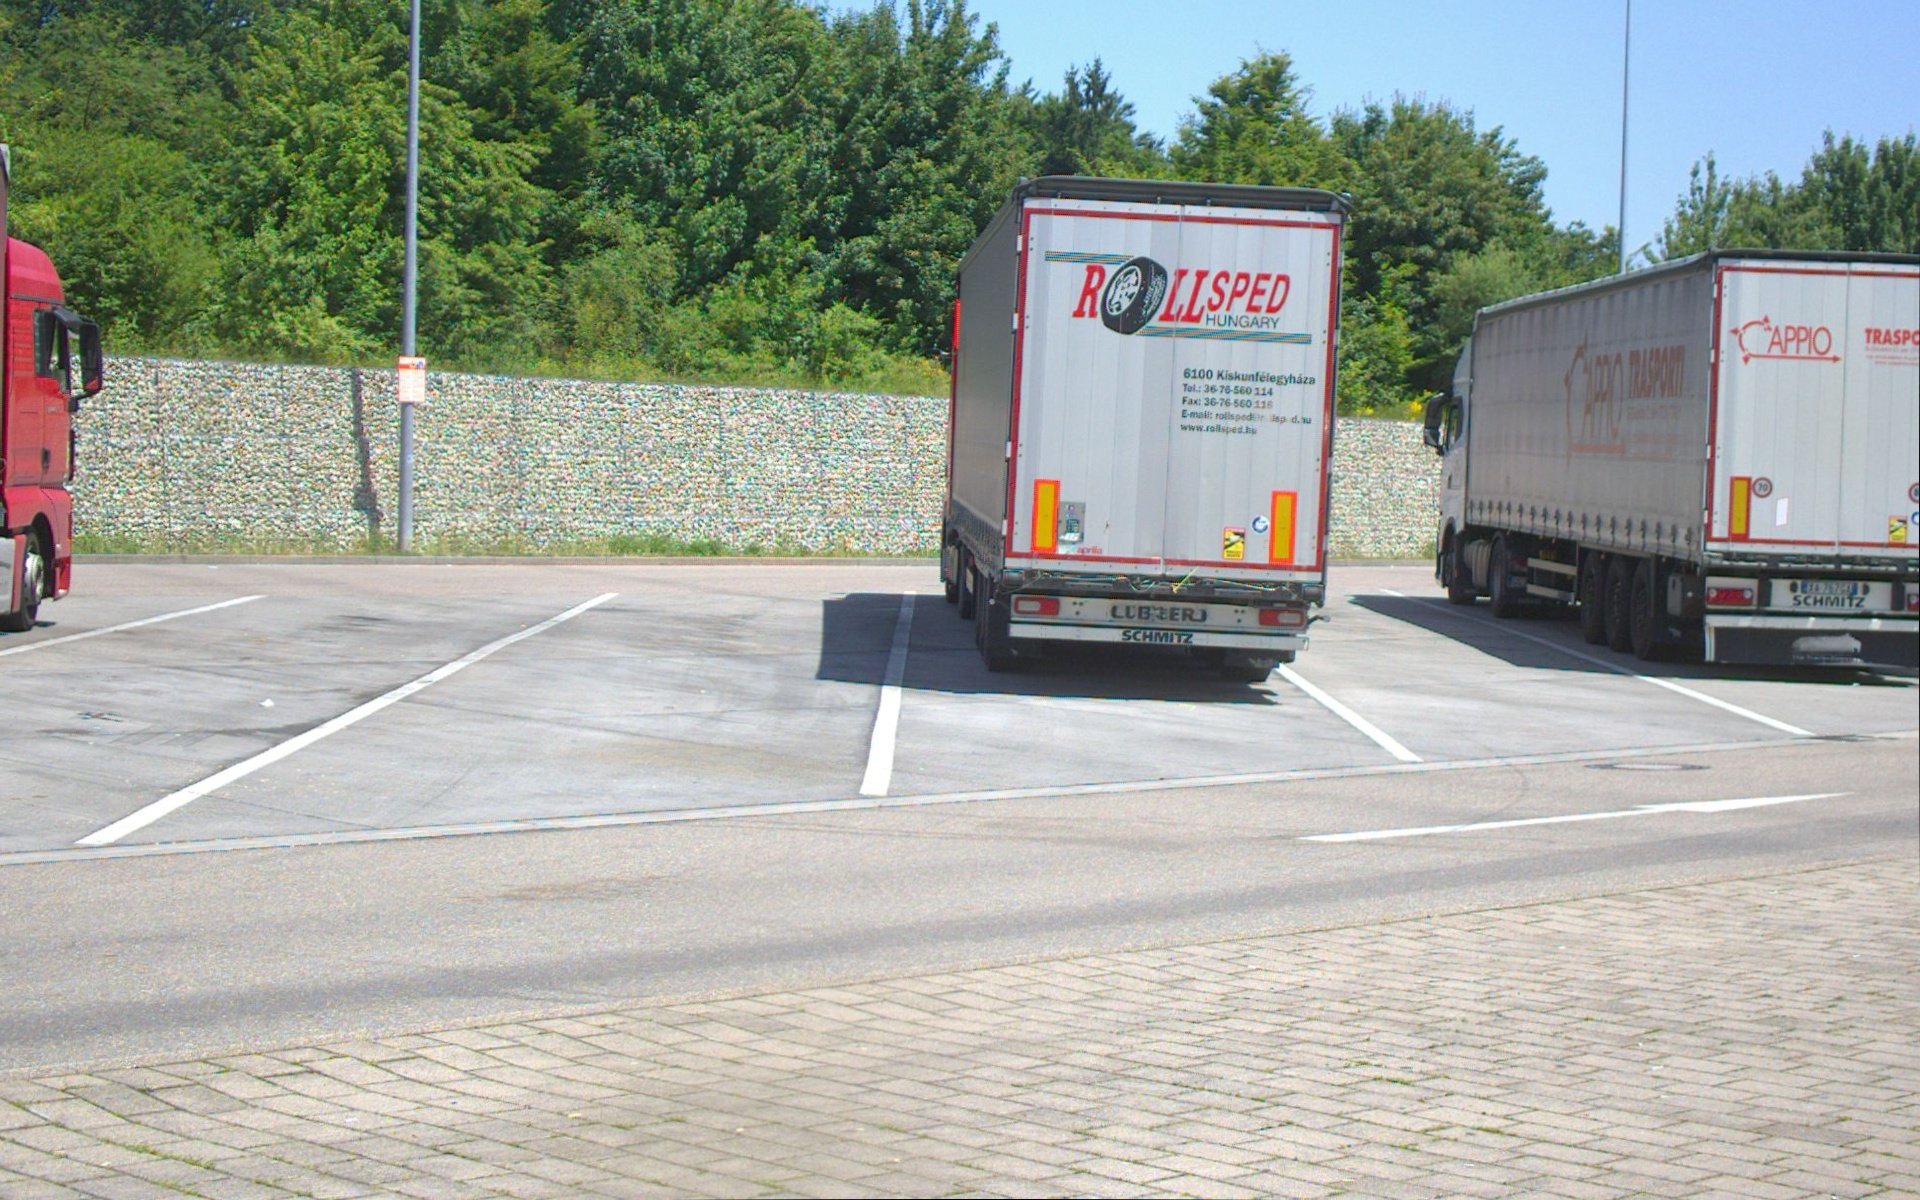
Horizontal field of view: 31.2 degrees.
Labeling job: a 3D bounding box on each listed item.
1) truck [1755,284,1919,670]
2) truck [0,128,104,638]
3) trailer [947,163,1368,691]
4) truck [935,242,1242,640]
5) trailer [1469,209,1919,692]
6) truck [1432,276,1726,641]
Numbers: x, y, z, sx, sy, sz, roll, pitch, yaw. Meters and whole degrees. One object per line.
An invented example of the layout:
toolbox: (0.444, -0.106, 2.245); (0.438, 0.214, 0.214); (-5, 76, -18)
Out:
truck: (11.732, -1.341, 38.743); (2.587, 4.211, 11.971); (1, 1, -1)
truck: (-9.174, -1.782, 28.341); (2.805, 4.119, 5.894); (1, 2, -1)
trailer: (1.486, -1.501, 31.957); (2.897, 4.000, 11.319); (1, 2, -2)
truck: (1.270, -1.695, 37.662); (2.871, 3.967, 6.030); (1, 2, -2)
trailer: (8.114, -1.582, 38.200); (2.681, 4.437, 12.831); (1, 2, -1)
truck: (7.984, -1.824, 45.080); (2.661, 4.437, 5.864); (1, 2, -1)
